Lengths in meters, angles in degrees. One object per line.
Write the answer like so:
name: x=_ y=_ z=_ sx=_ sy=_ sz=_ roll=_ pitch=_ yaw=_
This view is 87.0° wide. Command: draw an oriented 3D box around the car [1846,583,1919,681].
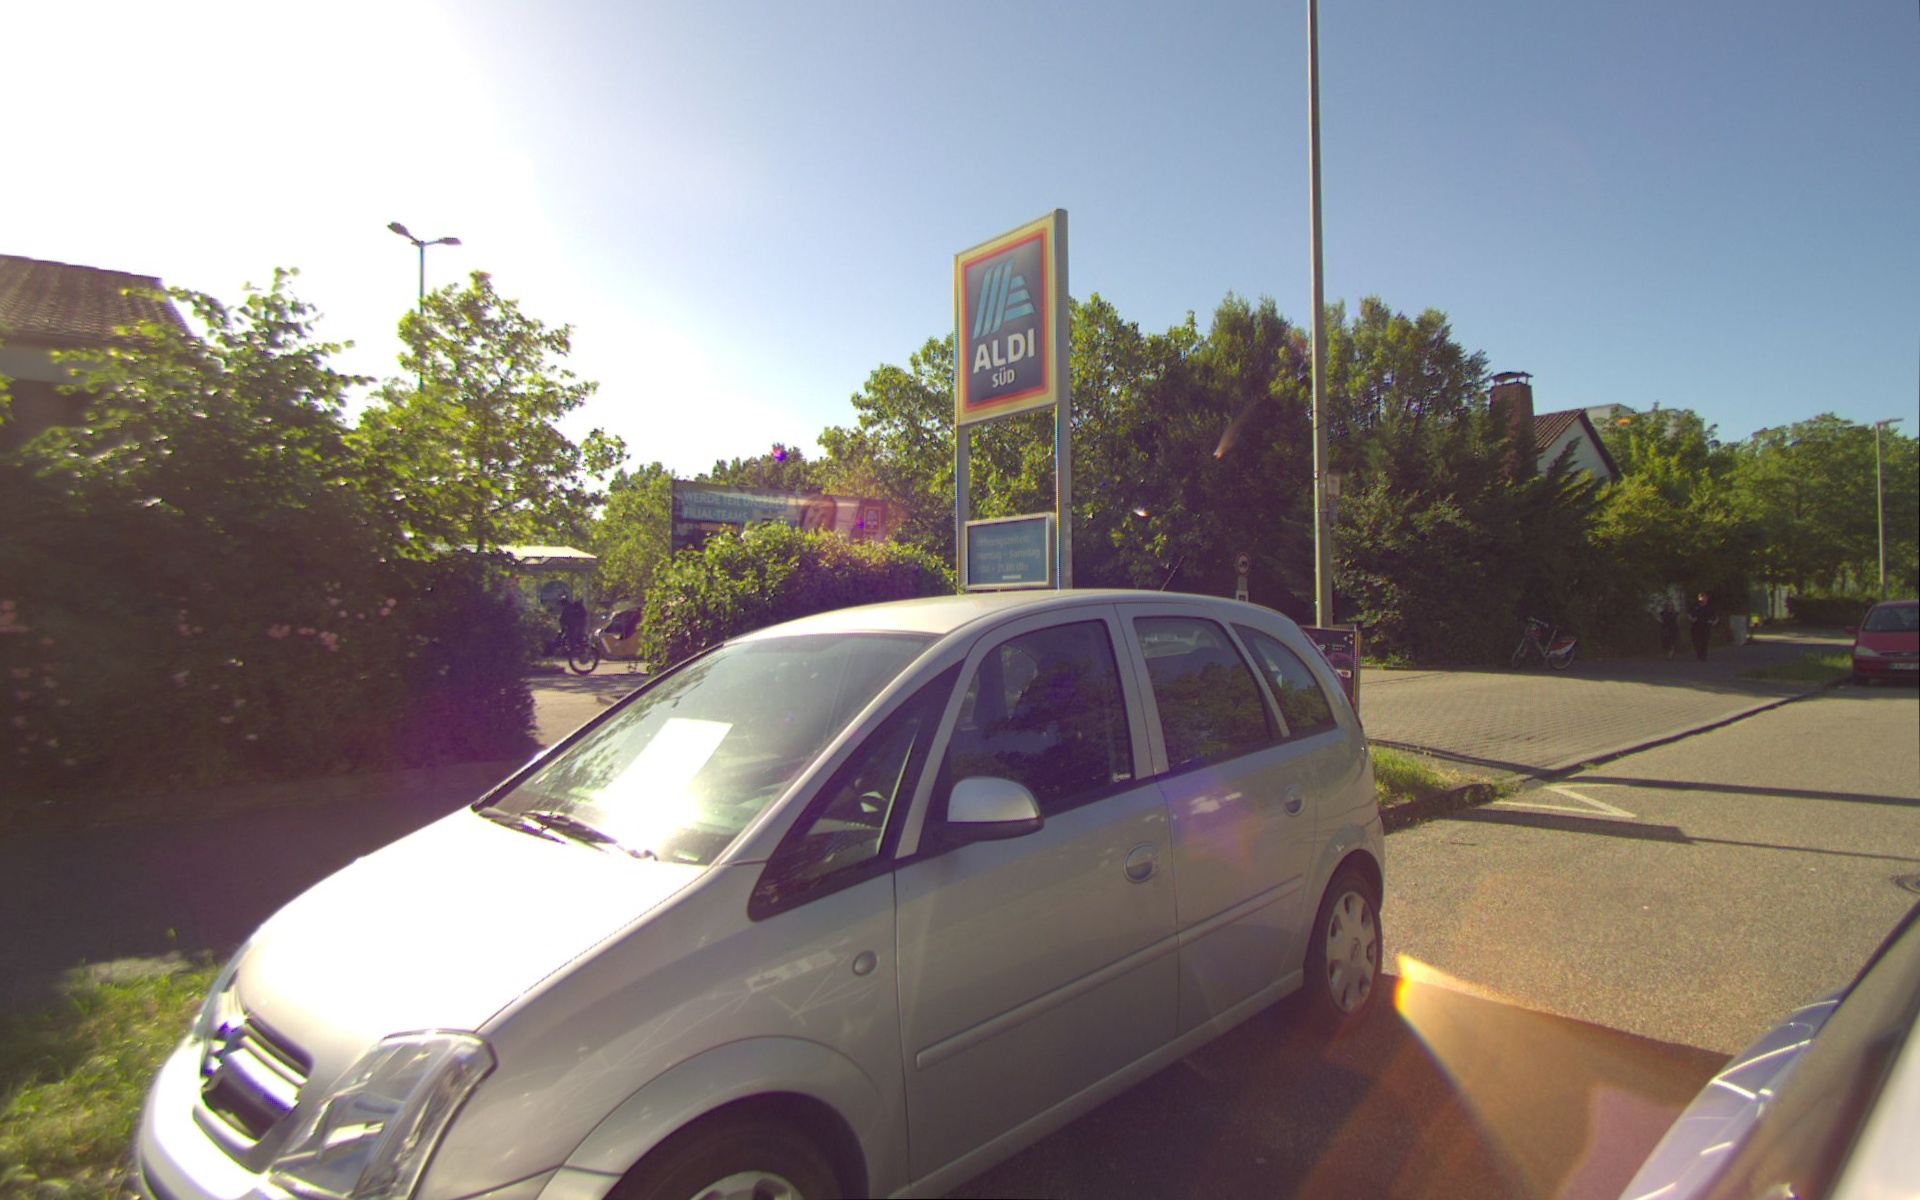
car: x=19.546 y=0.592 z=20.409 sx=4.571 sy=1.828 sz=1.843 roll=0 pitch=-1 yaw=-40

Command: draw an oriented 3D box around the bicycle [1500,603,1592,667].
bicycle: x=12.267 y=0.710 z=21.189 sx=1.857 sy=1.236 sz=0.724 roll=-1 pitch=2 yaw=-25

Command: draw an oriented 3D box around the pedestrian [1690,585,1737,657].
pedestrian: x=19.132 y=0.512 z=25.690 sx=0.968 sy=1.738 sz=0.804 roll=-2 pitch=2 yaw=-44

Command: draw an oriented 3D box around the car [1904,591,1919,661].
car: x=25.048 y=0.630 z=25.290 sx=4.277 sy=1.677 sz=1.727 roll=0 pitch=-1 yaw=-41

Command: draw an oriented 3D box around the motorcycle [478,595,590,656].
motorcycle: x=-11.023 y=0.643 z=26.252 sx=2.552 sy=1.528 sz=0.871 roll=0 pitch=-1 yaw=-41

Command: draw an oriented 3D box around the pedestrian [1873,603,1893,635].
pedestrian: x=47.274 y=0.965 z=51.833 sx=0.629 sy=1.659 sz=0.641 roll=0 pitch=-1 yaw=-38

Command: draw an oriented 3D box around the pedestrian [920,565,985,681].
pedestrian: x=-0.122 y=0.325 z=14.827 sx=0.760 sy=1.652 sz=0.695 roll=0 pitch=-1 yaw=-20

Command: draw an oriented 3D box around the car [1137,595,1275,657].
car: x=6.615 y=0.658 z=27.089 sx=3.735 sy=1.522 sz=1.775 roll=0 pitch=-1 yaw=-41

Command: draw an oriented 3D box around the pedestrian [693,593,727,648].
pedestrian: x=-7.631 y=0.618 z=30.872 sx=0.814 sy=1.677 sz=0.672 roll=1 pitch=-1 yaw=-42

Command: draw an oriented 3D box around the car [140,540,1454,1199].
car: x=-0.069 y=0.757 z=3.314 sx=3.961 sy=1.620 sz=1.680 roll=-1 pitch=-3 yaw=-44

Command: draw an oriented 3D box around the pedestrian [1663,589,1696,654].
pedestrian: x=18.645 y=0.550 z=26.220 sx=0.779 sy=1.629 sz=0.573 roll=-2 pitch=2 yaw=-44
